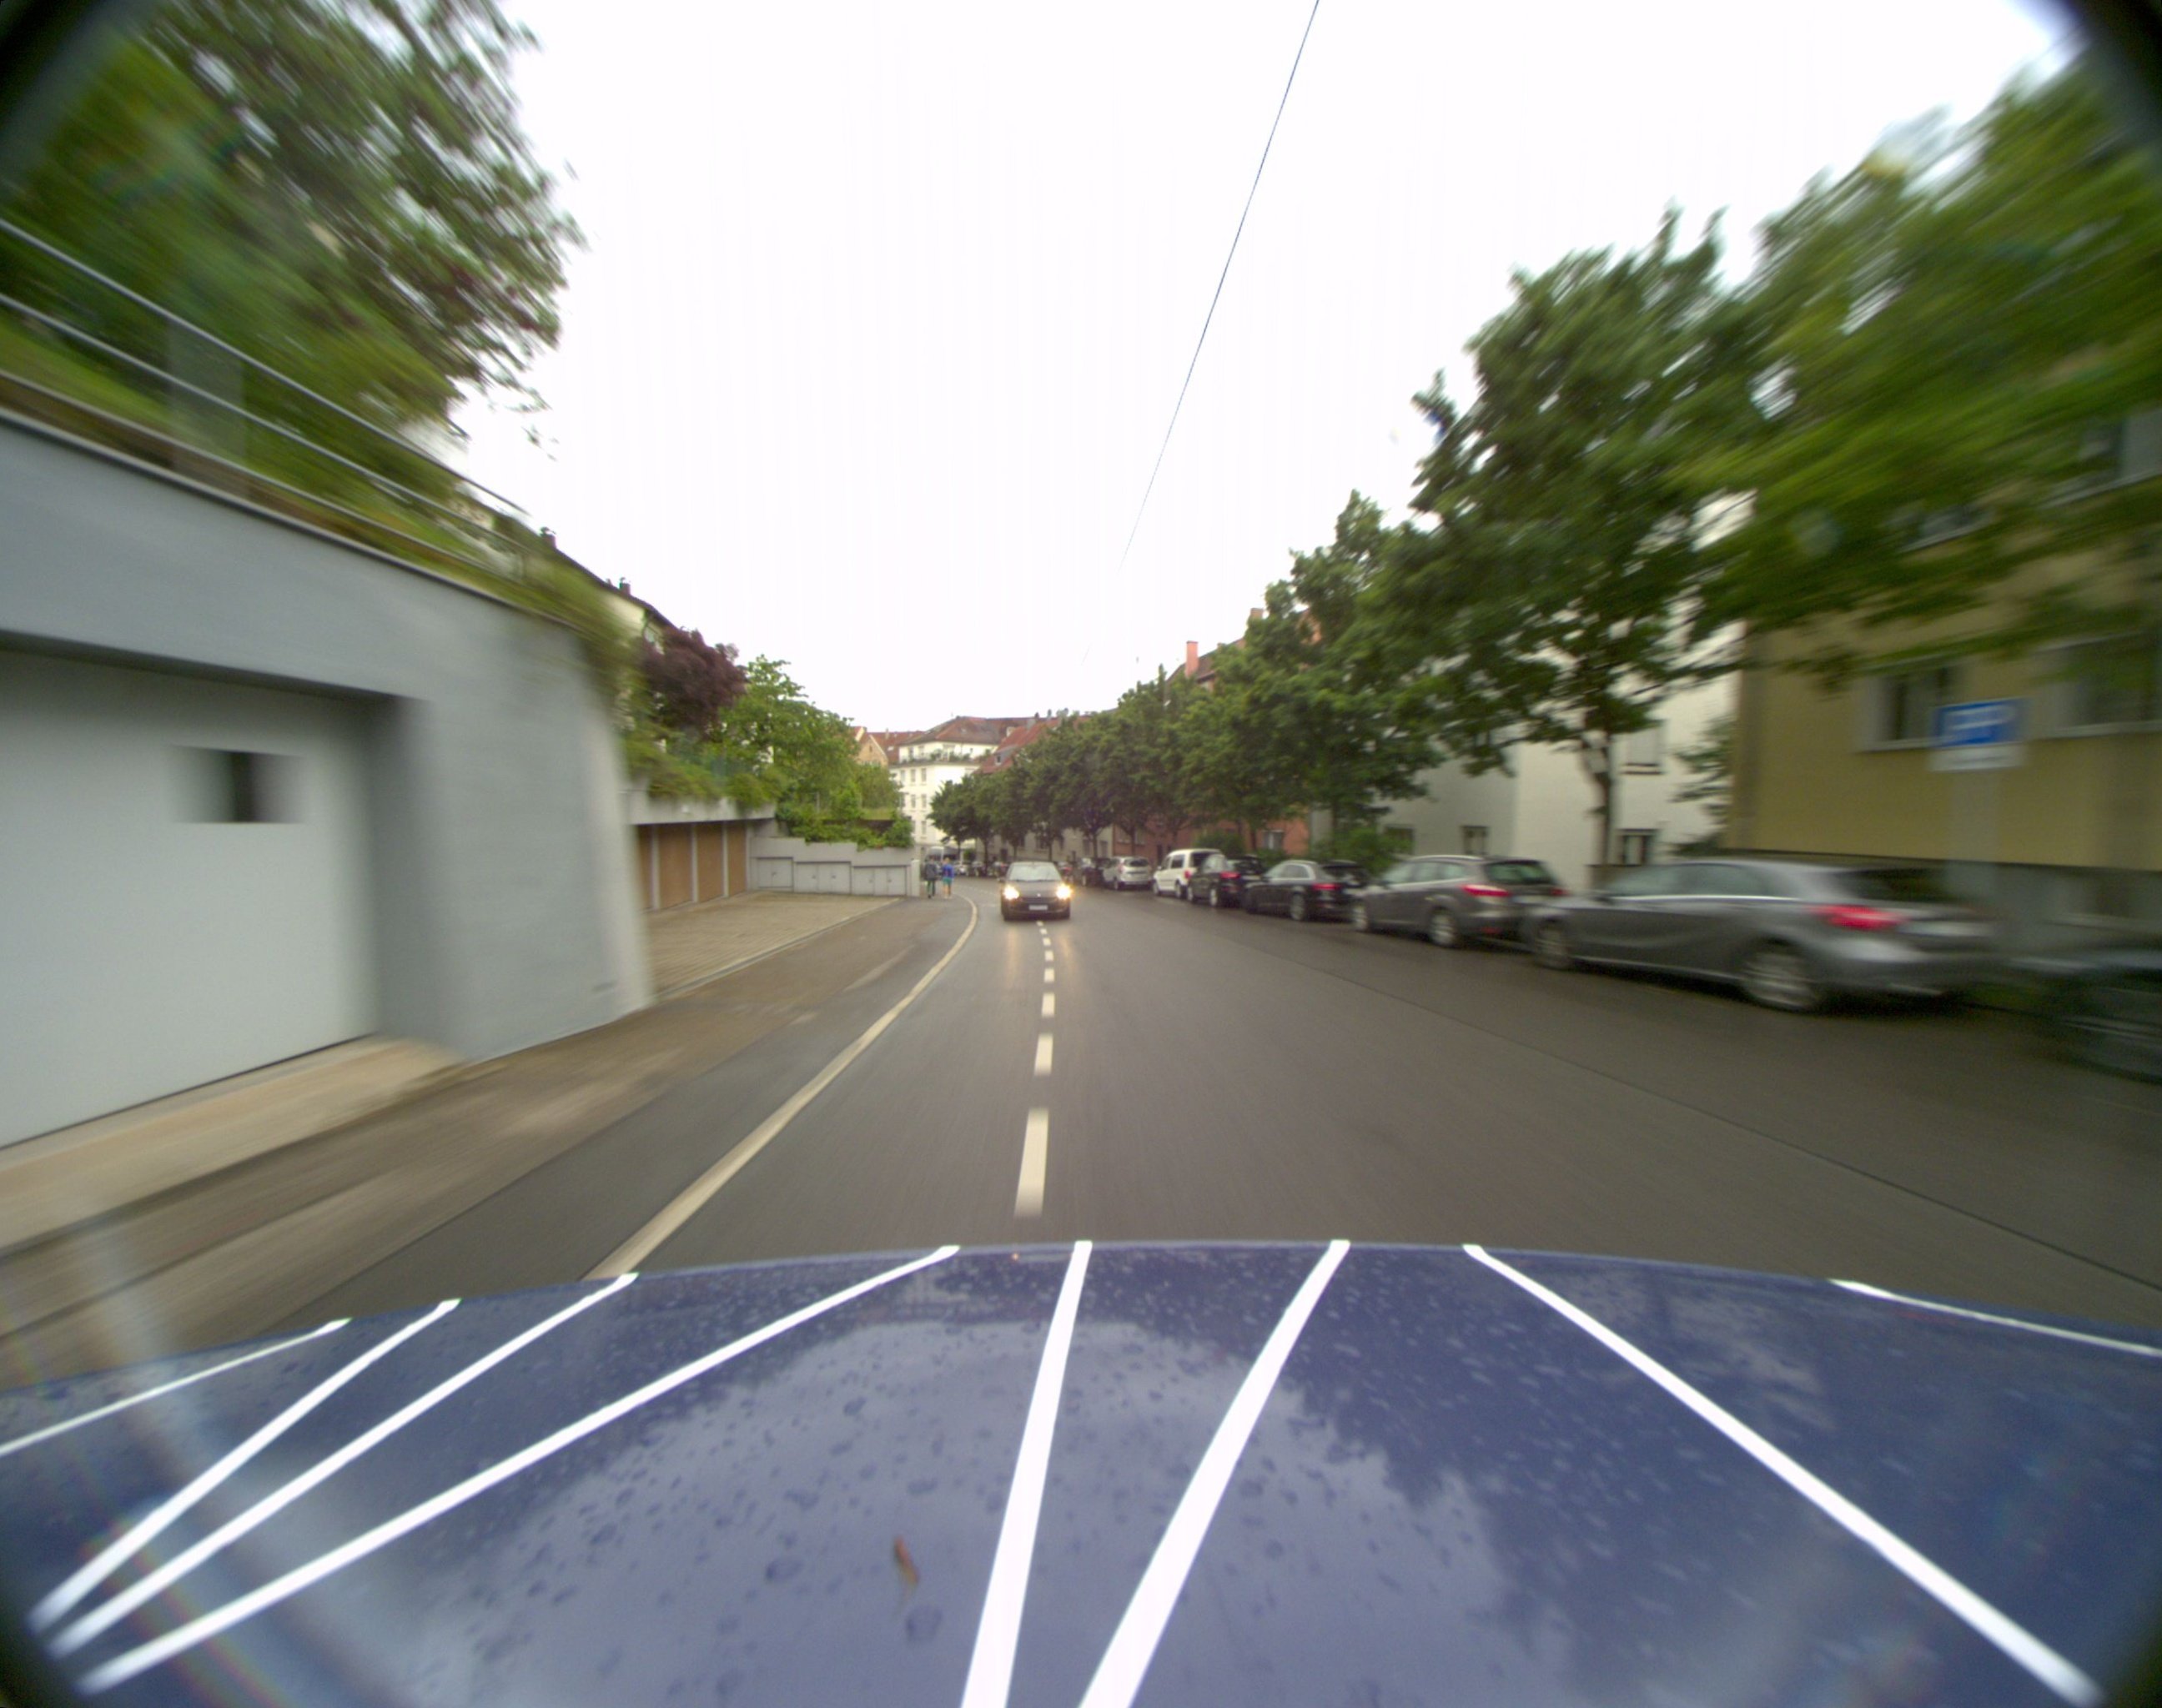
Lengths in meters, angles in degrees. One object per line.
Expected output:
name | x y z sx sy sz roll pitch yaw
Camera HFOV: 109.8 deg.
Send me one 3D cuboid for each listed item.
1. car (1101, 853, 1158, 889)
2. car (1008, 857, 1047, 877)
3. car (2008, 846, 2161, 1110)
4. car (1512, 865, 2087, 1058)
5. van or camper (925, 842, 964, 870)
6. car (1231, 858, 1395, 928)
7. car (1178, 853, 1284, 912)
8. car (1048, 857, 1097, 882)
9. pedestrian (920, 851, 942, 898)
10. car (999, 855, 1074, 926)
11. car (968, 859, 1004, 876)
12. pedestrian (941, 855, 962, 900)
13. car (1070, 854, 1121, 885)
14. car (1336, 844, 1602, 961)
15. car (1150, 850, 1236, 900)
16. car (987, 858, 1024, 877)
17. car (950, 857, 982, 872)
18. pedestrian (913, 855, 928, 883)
car | 2.338 0.799 38.131 1.753 1.680 4.595 -1 0 -10
car | -4.246 1.010 59.673 1.795 1.484 4.353 -1 0 -23
car | 7.333 0.734 2.977 1.780 1.531 4.515 -1 1 -3
car | 6.780 0.843 7.980 1.619 1.388 4.319 -1 0 -8
van or camper | -14.406 0.203 79.834 2.077 2.843 5.733 0 0 -32
car | 5.523 0.858 18.821 1.860 1.490 4.736 -1 0 -11
car | 4.575 0.809 23.973 1.860 1.658 4.584 -1 0 -8
car | -0.595 0.968 48.762 1.794 1.484 4.354 -1 0 -20
pedestrian | -6.009 0.815 30.498 0.778 1.821 1.250 2 -1 -10
car | -1.270 0.884 20.308 1.699 1.456 3.996 -4 2 -6
car | -8.756 1.185 69.493 1.796 1.484 4.488 0 0 -27
pedestrian | -5.194 0.926 30.537 0.778 1.748 1.010 2 1 -10
car | 0.749 0.860 43.449 1.794 1.631 4.474 -1 0 -14
car | 6.396 0.704 13.264 1.860 1.680 4.551 0 0 -8
car | 4.189 0.762 29.228 1.860 1.766 4.477 0 0 -12
car | -6.484 1.100 64.654 1.795 1.484 4.635 -2 1 -22
car | -11.268 1.022 74.344 1.594 1.401 4.037 -1 0 -33
pedestrian | -10.792 1.023 51.128 0.902 1.840 0.802 -1 1 -16
